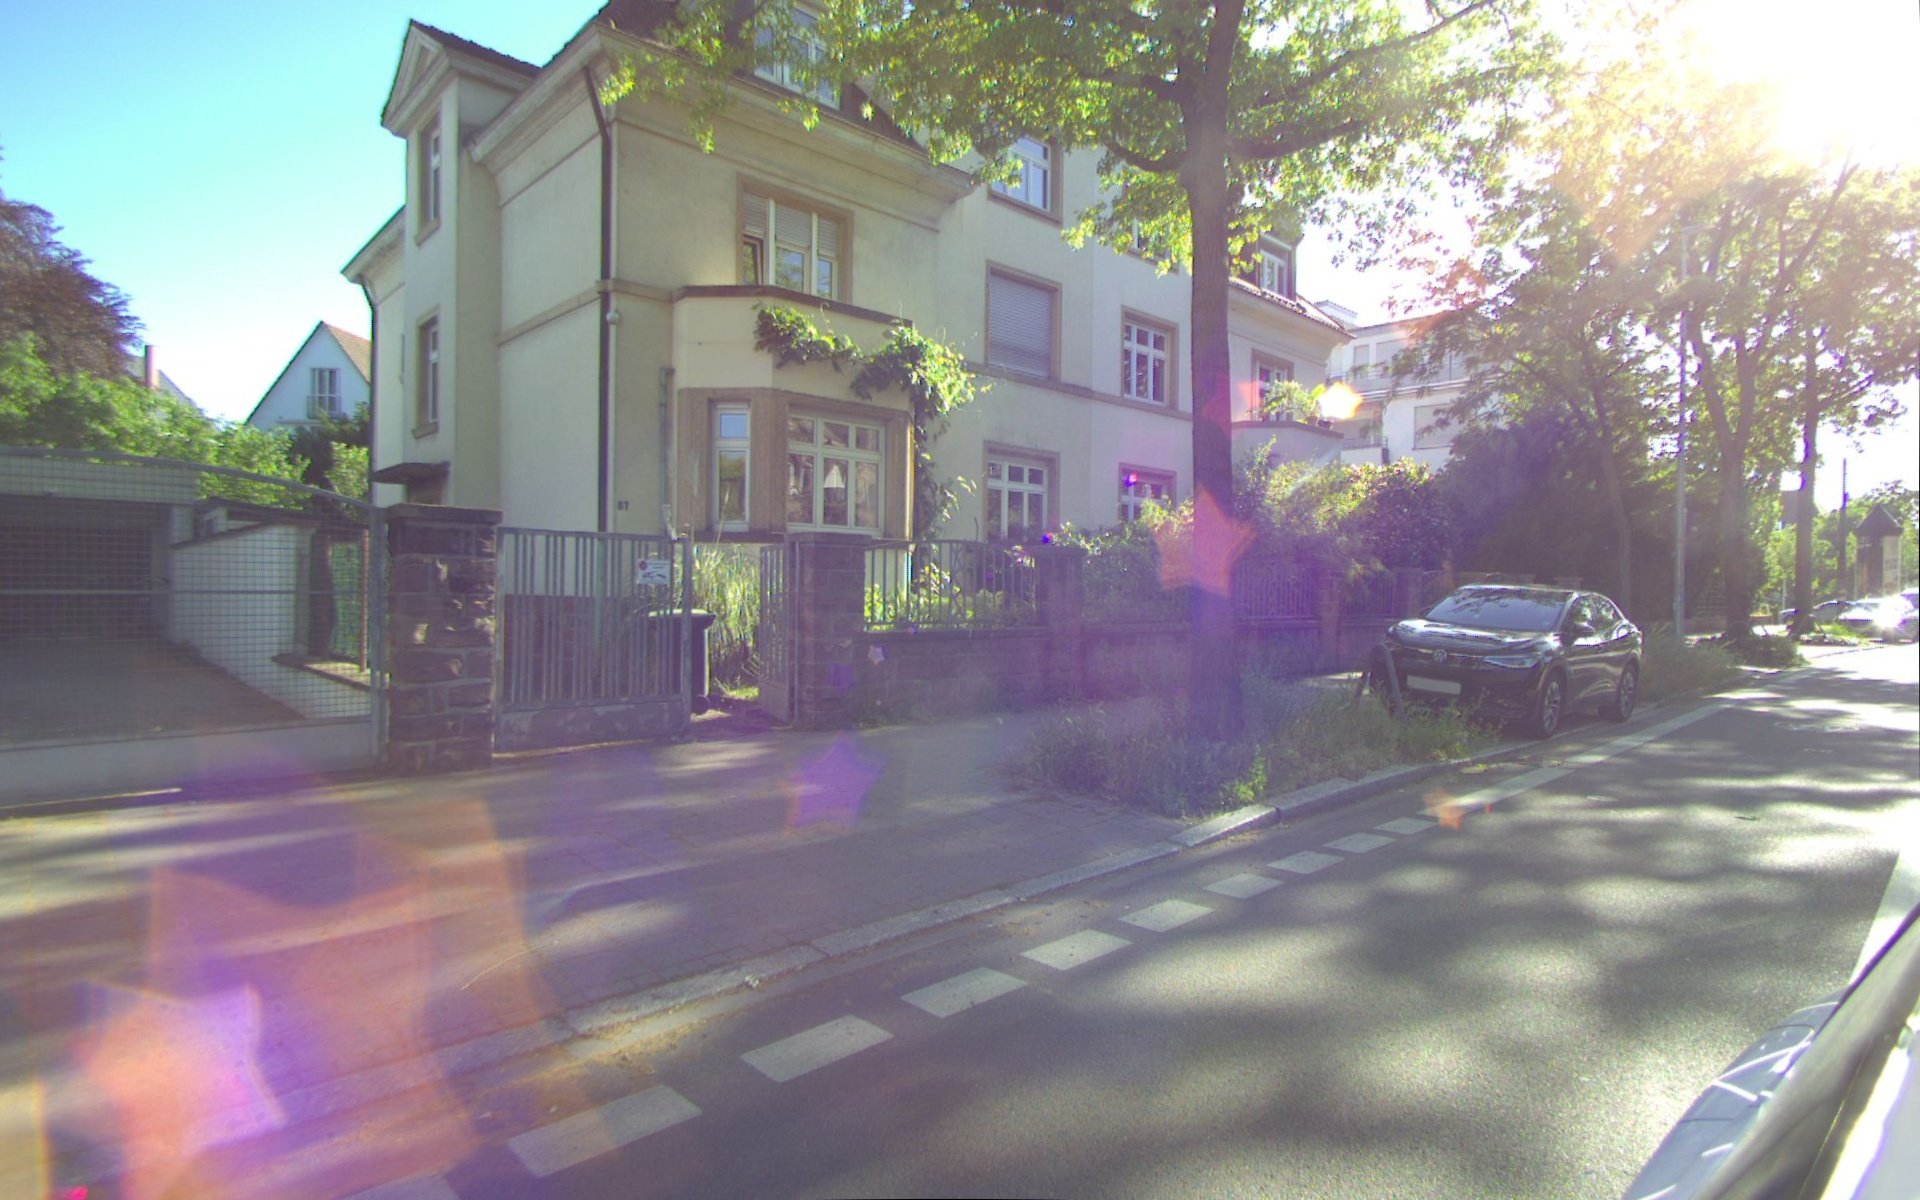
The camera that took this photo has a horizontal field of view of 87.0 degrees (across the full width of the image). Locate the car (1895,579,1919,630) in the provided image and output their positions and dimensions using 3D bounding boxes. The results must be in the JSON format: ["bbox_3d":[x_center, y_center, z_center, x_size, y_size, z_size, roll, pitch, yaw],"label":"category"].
[{"bbox_3d":[36.672,0.157,37.822,4.171,1.852,1.904,-1,0,-38],"label":"car"}]

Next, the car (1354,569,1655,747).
[{"bbox_3d":[6.643,0.549,12.168,4.101,1.765,1.995,-1,0,-43],"label":"car"}]

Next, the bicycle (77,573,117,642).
[{"bbox_3d":[-14.840,0.120,17.398,0.512,1.136,1.464,0,0,-41],"label":"bicycle"}]

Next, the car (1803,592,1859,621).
[{"bbox_3d":[47.000,0.320,54.608,3.930,1.460,1.739,-1,0,-41],"label":"car"}]

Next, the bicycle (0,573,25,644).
[{"bbox_3d":[-15.763,0.132,16.647,0.512,1.136,1.464,0,0,-41],"label":"bicycle"}]

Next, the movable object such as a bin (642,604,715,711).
[{"bbox_3d":[-3.013,0.582,10.810,0.712,1.068,0.969,0,0,-17],"label":"movable object such as a bin"}]

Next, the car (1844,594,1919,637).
[{"bbox_3d":[31.486,0.479,34.252,3.847,1.356,1.719,-1,0,-39],"label":"car"}]

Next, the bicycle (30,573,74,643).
[{"bbox_3d":[-15.265,0.126,17.029,0.512,1.136,1.464,0,0,-41],"label":"bicycle"}]

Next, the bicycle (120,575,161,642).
[{"bbox_3d":[-14.356,0.135,17.719,0.512,1.136,1.464,0,0,-41],"label":"bicycle"}]
